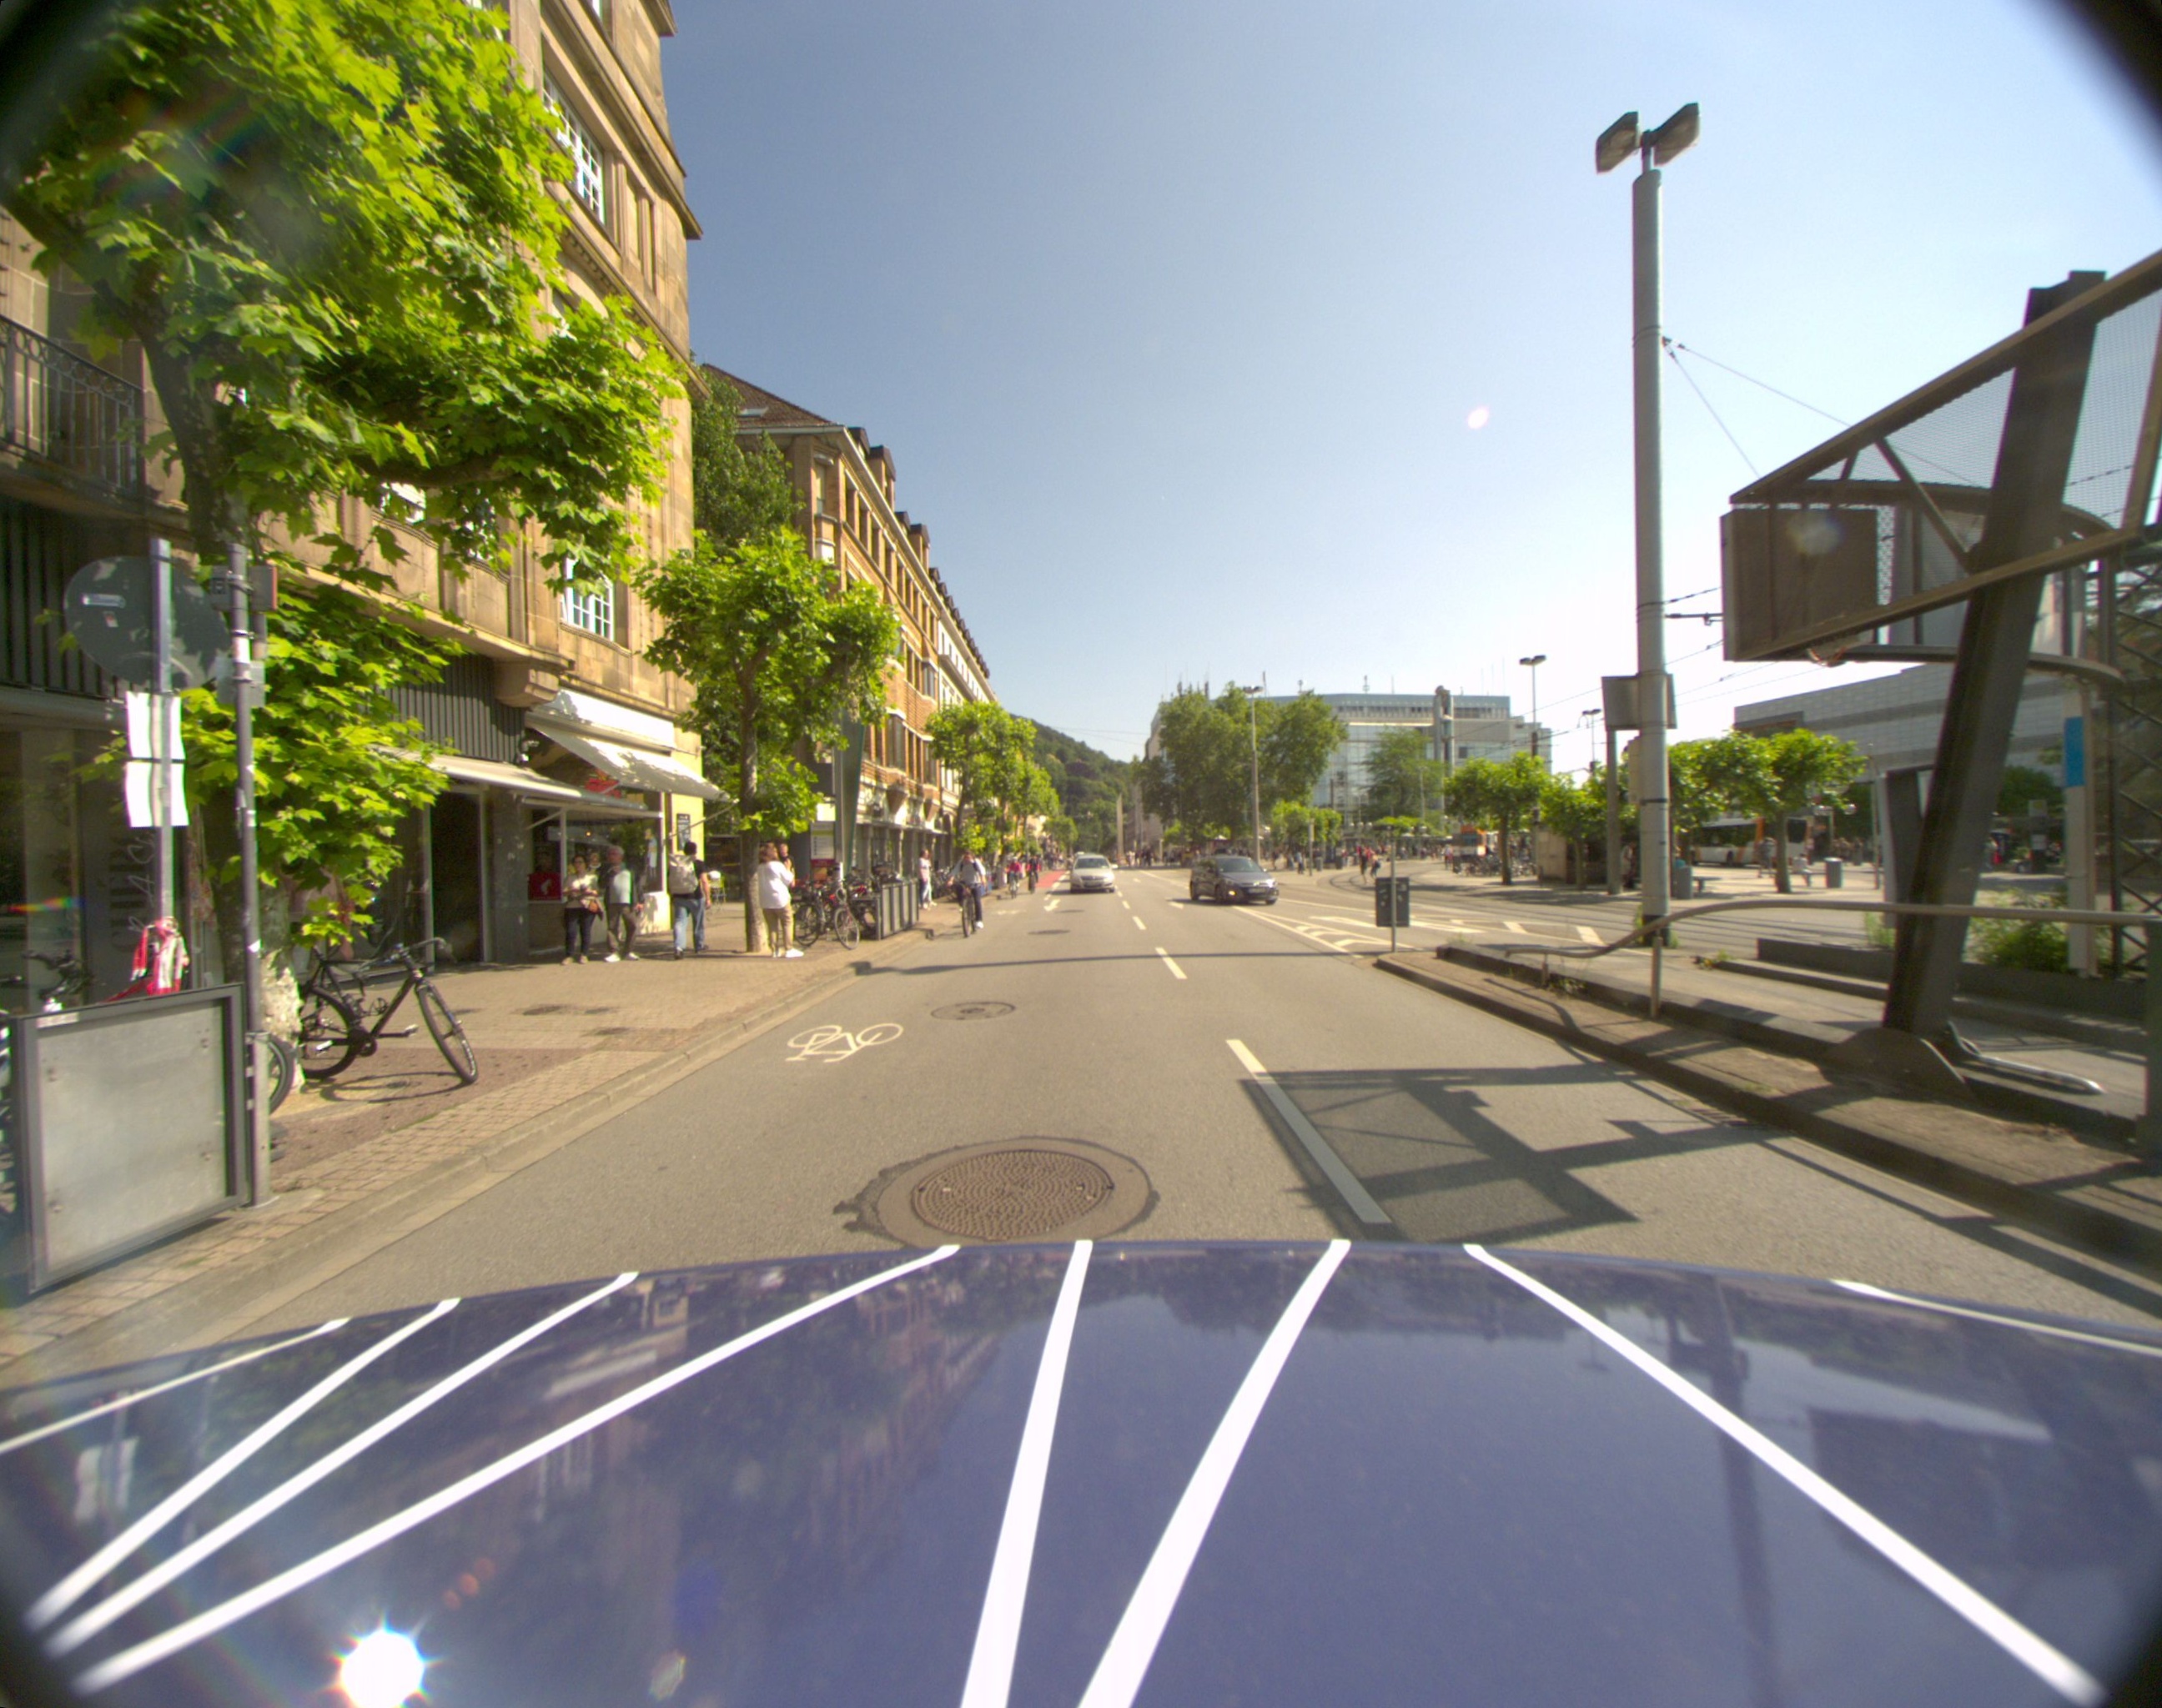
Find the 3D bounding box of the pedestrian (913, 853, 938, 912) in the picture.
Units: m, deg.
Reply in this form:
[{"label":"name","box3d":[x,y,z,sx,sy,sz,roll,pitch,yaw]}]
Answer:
[{"label":"pedestrian","box3d":[-4.325,0.786,21.164,0.601,1.616,0.643,2,0,-11]}]

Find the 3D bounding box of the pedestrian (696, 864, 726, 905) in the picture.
[{"label":"pedestrian","box3d":[-11.813,0.974,24.254,0.640,1.247,0.792,-3,1,-12]}]

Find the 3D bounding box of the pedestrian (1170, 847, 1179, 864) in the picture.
[{"label":"pedestrian","box3d":[9.076,0.166,74.016,0.643,1.681,0.642,-3,1,-13]}]

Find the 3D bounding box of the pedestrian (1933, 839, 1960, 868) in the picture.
[{"label":"pedestrian","box3d":[44.495,-0.013,39.064,0.625,1.457,0.680,2,0,-5]}]

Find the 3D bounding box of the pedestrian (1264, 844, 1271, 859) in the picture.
[{"label":"pedestrian","box3d":[22.217,-0.304,90.503,0.638,1.683,0.753,-2,1,23]}]

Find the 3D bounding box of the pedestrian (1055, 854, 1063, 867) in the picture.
[{"label":"pedestrian","box3d":[-2.531,0.736,86.788,0.672,1.488,0.637,-2,1,-14]}]

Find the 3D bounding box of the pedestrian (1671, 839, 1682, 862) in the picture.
[{"label":"pedestrian","box3d":[38.495,-0.235,49.101,0.453,1.457,0.411,2,0,-35]}]

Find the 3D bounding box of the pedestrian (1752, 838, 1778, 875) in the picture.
[{"label":"pedestrian","box3d":[29.651,0.113,32.931,0.608,1.598,0.549,2,0,3]}]

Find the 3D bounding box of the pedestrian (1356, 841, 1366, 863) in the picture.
[{"label":"pedestrian","box3d":[23.013,-0.175,62.500,0.577,1.805,0.605,2,0,0]}]

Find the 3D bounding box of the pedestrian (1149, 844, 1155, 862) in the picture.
[{"label":"pedestrian","box3d":[7.337,-0.085,78.325,0.517,1.825,0.716,-2,1,8]}]

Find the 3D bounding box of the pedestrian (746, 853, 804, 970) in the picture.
[{"label":"pedestrian","box3d":[-4.562,0.836,11.358,0.658,1.673,0.652,-1,2,-11]}]

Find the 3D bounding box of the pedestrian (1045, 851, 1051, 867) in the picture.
[{"label":"pedestrian","box3d":[-3.454,0.532,79.780,0.578,1.675,0.622,-2,1,-3]}]

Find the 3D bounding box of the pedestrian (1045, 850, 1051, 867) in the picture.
[{"label":"pedestrian","box3d":[-3.497,0.515,80.857,0.578,1.774,0.699,1,1,-3]}]

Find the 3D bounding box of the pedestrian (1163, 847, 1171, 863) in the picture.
[{"label":"pedestrian","box3d":[9.384,0.096,82.869,0.751,1.737,0.667,-2,1,-1]}]

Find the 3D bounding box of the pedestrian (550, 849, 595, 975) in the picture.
[{"label":"pedestrian","box3d":[-6.974,0.771,10.420,0.478,1.673,0.381,0,1,-39]}]

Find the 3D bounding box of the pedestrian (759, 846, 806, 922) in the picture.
[{"label":"pedestrian","box3d":[-7.166,0.696,18.280,0.669,1.771,0.985,0,1,5]}]

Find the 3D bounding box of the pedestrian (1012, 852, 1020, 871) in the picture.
[{"label":"pedestrian","box3d":[-6.191,0.720,71.885,0.635,1.782,0.776,-2,1,-1]}]

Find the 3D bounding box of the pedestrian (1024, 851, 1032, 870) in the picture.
[{"label":"pedestrian","box3d":[-4.346,0.528,62.456,0.606,1.529,0.666,-2,1,-1]}]

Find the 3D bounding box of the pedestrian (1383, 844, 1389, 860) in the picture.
[{"label":"pedestrian","box3d":[29.749,-0.169,74.173,0.475,1.539,0.493,-3,-2,25]}]

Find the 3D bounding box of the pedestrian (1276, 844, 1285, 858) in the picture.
[{"label":"pedestrian","box3d":[24.060,-0.369,91.506,0.752,1.737,0.782,-2,1,-10]}]

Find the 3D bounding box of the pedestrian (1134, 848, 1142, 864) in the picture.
[{"label":"pedestrian","box3d":[6.536,0.205,87.256,0.876,1.737,0.733,-2,0,-1]}]

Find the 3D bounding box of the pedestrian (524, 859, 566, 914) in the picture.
[{"label":"pedestrian","box3d":[-10.282,0.619,14.579,0.455,1.017,0.405,-2,1,1]}]

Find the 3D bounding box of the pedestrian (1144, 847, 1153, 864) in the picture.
[{"label":"pedestrian","box3d":[6.847,0.145,77.534,0.630,1.639,0.753,-2,1,26]}]

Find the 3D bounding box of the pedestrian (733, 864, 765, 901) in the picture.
[{"label":"pedestrian","box3d":[-11.821,1.006,27.052,0.792,1.247,0.640,-2,1,4]}]

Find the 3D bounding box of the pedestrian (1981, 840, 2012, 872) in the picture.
[{"label":"pedestrian","box3d":[43.195,0.087,35.856,0.625,1.457,0.680,2,0,-5]}]

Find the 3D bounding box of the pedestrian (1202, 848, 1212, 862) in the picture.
[{"label":"pedestrian","box3d":[12.999,0.080,78.671,0.752,1.399,0.782,-2,1,-10]}]

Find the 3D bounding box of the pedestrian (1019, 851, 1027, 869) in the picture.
[{"label":"pedestrian","box3d":[-5.803,0.631,76.101,0.721,1.772,0.776,-2,1,-2]}]

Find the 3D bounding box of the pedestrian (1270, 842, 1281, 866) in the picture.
[{"label":"pedestrian","box3d":[15.824,-0.010,61.908,0.693,1.996,0.564,-1,1,-9]}]

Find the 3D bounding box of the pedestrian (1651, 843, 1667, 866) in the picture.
[{"label":"pedestrian","box3d":[36.862,0.038,48.434,0.526,1.457,0.588,2,0,-19]}]

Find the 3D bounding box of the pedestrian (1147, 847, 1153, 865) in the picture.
[{"label":"pedestrian","box3d":[7.307,0.197,80.282,0.595,1.835,0.738,0,1,-1]}]

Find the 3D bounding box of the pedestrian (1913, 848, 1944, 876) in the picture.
[{"label":"pedestrian","box3d":[44.684,0.436,40.058,0.789,1.457,0.742,2,0,-5]}]

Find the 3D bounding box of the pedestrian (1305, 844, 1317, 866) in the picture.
[{"label":"pedestrian","box3d":[19.242,0.078,63.629,0.626,1.783,0.678,2,0,-42]}]

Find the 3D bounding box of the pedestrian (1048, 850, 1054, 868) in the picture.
[{"label":"pedestrian","box3d":[-3.033,0.532,77.348,0.578,1.835,0.717,-2,1,-3]}]

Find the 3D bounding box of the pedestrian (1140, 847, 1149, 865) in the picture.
[{"label":"pedestrian","box3d":[6.612,0.216,79.198,0.537,1.773,0.745,-2,1,35]}]

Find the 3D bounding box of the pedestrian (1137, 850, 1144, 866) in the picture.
[{"label":"pedestrian","box3d":[6.458,0.400,82.738,0.612,1.737,0.752,-1,1,-1]}]

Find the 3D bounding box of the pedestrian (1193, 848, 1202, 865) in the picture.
[{"label":"pedestrian","box3d":[12.520,0.244,81.687,0.750,1.735,0.785,-2,-6,27]}]

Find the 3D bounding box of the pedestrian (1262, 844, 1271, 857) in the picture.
[{"label":"pedestrian","box3d":[24.750,-0.428,101.346,0.752,1.737,0.782,-2,1,-10]}]

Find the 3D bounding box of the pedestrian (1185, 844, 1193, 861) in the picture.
[{"label":"pedestrian","box3d":[10.729,-0.149,75.476,0.516,1.732,0.518,-3,1,-13]}]

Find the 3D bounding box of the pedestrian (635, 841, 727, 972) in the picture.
[{"label":"pedestrian","box3d":[-5.868,0.731,11.189,0.816,1.838,0.892,1,1,8]}]

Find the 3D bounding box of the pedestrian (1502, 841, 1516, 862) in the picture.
[{"label":"pedestrian","box3d":[34.449,-0.195,61.142,0.626,1.588,0.679,2,0,-22]}]

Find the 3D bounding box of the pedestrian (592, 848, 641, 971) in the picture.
[{"label":"pedestrian","box3d":[-6.557,0.759,10.726,0.538,1.673,0.498,0,2,-38]}]

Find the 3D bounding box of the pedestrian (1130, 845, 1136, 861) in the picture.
[{"label":"pedestrian","box3d":[6.369,-0.165,92.893,0.639,1.903,0.733,-2,1,-1]}]

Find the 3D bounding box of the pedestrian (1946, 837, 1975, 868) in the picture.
[{"label":"pedestrian","box3d":[42.722,-0.075,36.911,0.625,1.457,0.680,2,0,-5]}]

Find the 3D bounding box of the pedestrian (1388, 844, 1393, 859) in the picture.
[{"label":"pedestrian","box3d":[31.184,-0.226,76.584,0.385,1.539,0.412,-2,-2,25]}]

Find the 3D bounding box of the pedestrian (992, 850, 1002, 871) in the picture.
[{"label":"pedestrian","box3d":[-6.943,0.511,62.786,0.658,1.686,0.676,-2,1,2]}]

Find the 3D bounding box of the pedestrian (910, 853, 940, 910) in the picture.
[{"label":"pedestrian","box3d":[-4.477,0.782,21.845,0.697,1.617,0.702,1,1,2]}]
